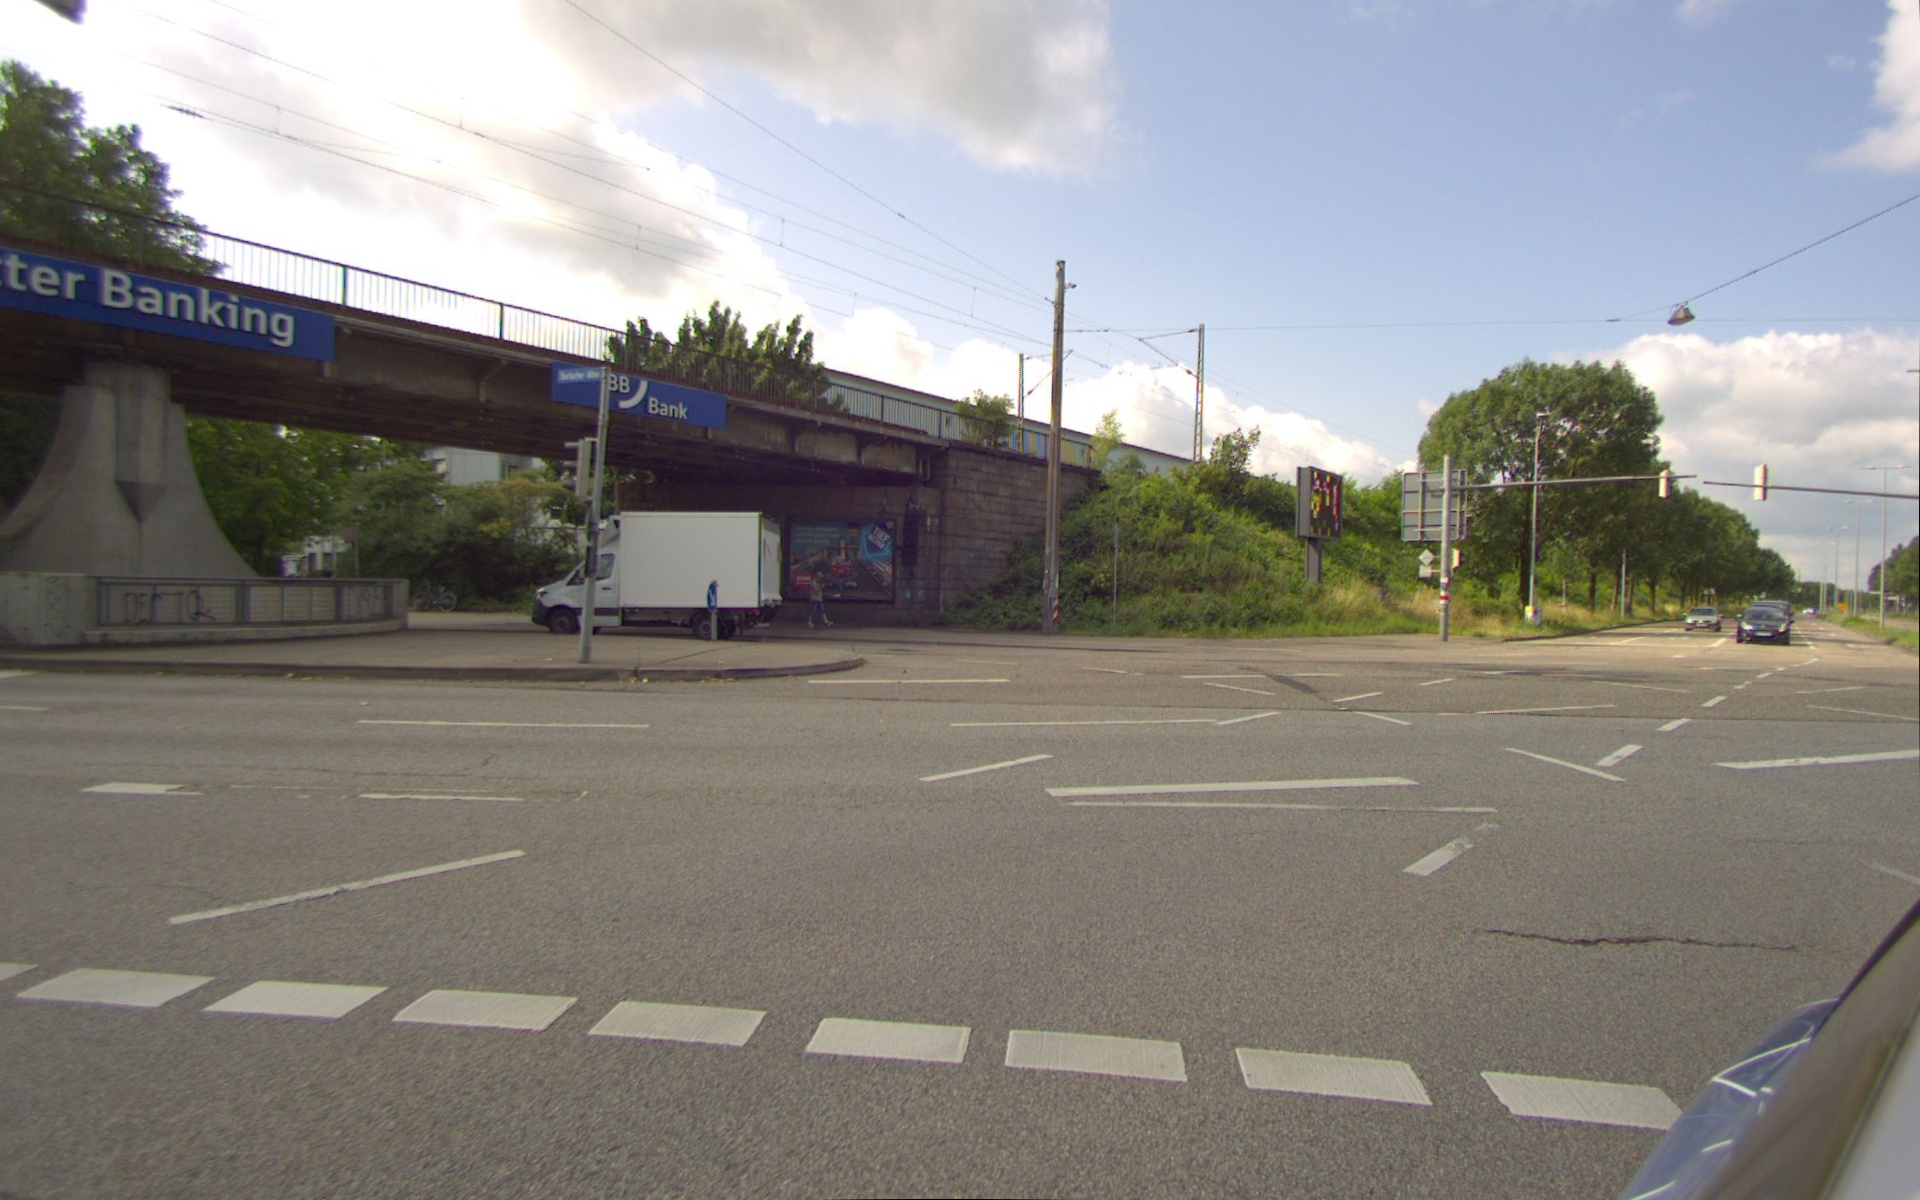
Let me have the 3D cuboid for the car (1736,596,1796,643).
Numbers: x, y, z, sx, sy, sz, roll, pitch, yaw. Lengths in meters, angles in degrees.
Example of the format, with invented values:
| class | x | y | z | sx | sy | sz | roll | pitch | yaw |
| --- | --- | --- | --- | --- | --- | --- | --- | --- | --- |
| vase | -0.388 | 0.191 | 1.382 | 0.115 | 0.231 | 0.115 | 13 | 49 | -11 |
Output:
| class | x | y | z | sx | sy | sz | roll | pitch | yaw |
| --- | --- | --- | --- | --- | --- | --- | --- | --- | --- |
| car | 33.077 | 0.741 | 41.491 | 1.735 | 1.537 | 3.774 | 1 | 5 | 41 |

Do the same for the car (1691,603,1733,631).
| class | x | y | z | sx | sy | sz | roll | pitch | yaw |
| --- | --- | --- | --- | --- | --- | --- | --- | --- | --- |
| car | 43.343 | 0.951 | 58.279 | 1.710 | 1.504 | 3.942 | 2 | 1 | 40 |

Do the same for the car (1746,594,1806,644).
| class | x | y | z | sx | sy | sz | roll | pitch | yaw |
| --- | --- | --- | --- | --- | --- | --- | --- | --- | --- |
| car | 36.889 | 0.793 | 45.793 | 1.967 | 1.769 | 3.972 | 2 | 6 | 39 |

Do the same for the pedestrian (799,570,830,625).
| class | x | y | z | sx | sy | sz | roll | pitch | yaw |
| --- | --- | --- | --- | --- | --- | --- | --- | --- | --- |
| pedestrian | -4.600 | -0.086 | 31.964 | 0.688 | 1.670 | 0.602 | 1 | 3 | 35 |

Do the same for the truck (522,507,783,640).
| class | x | y | z | sx | sy | sz | roll | pitch | yaw |
| --- | --- | --- | --- | --- | --- | --- | --- | --- | --- |
| truck | -7.685 | -0.641 | 25.838 | 5.913 | 3.161 | 2.455 | 1 | 0 | 0 |
